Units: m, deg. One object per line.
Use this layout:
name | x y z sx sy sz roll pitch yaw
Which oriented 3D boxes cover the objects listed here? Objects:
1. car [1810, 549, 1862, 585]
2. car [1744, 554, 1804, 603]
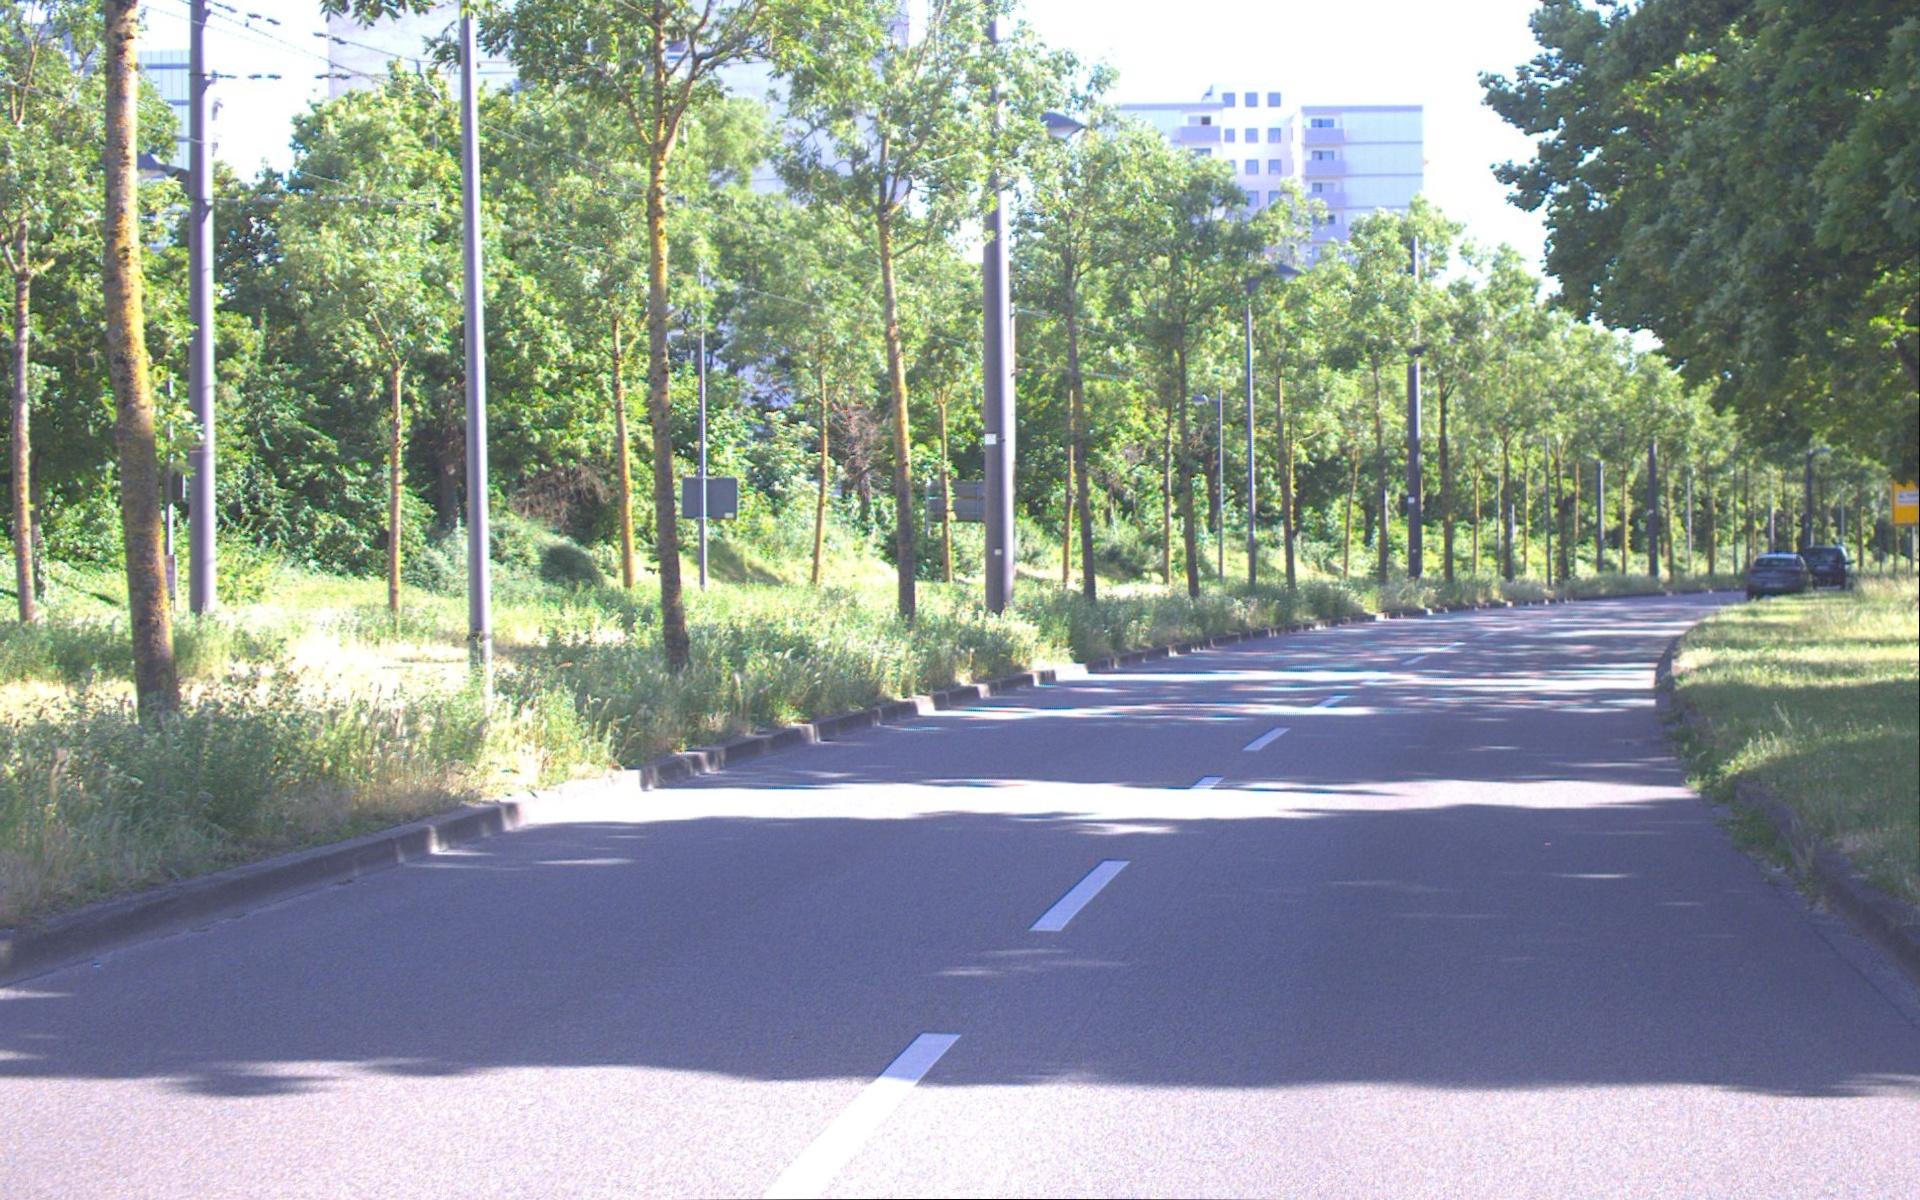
car | 36.937 -1.385 144.868 1.636 1.493 4.230 1 1 21
car | 25.431 -0.684 107.374 1.635 1.493 4.231 0 1 16
